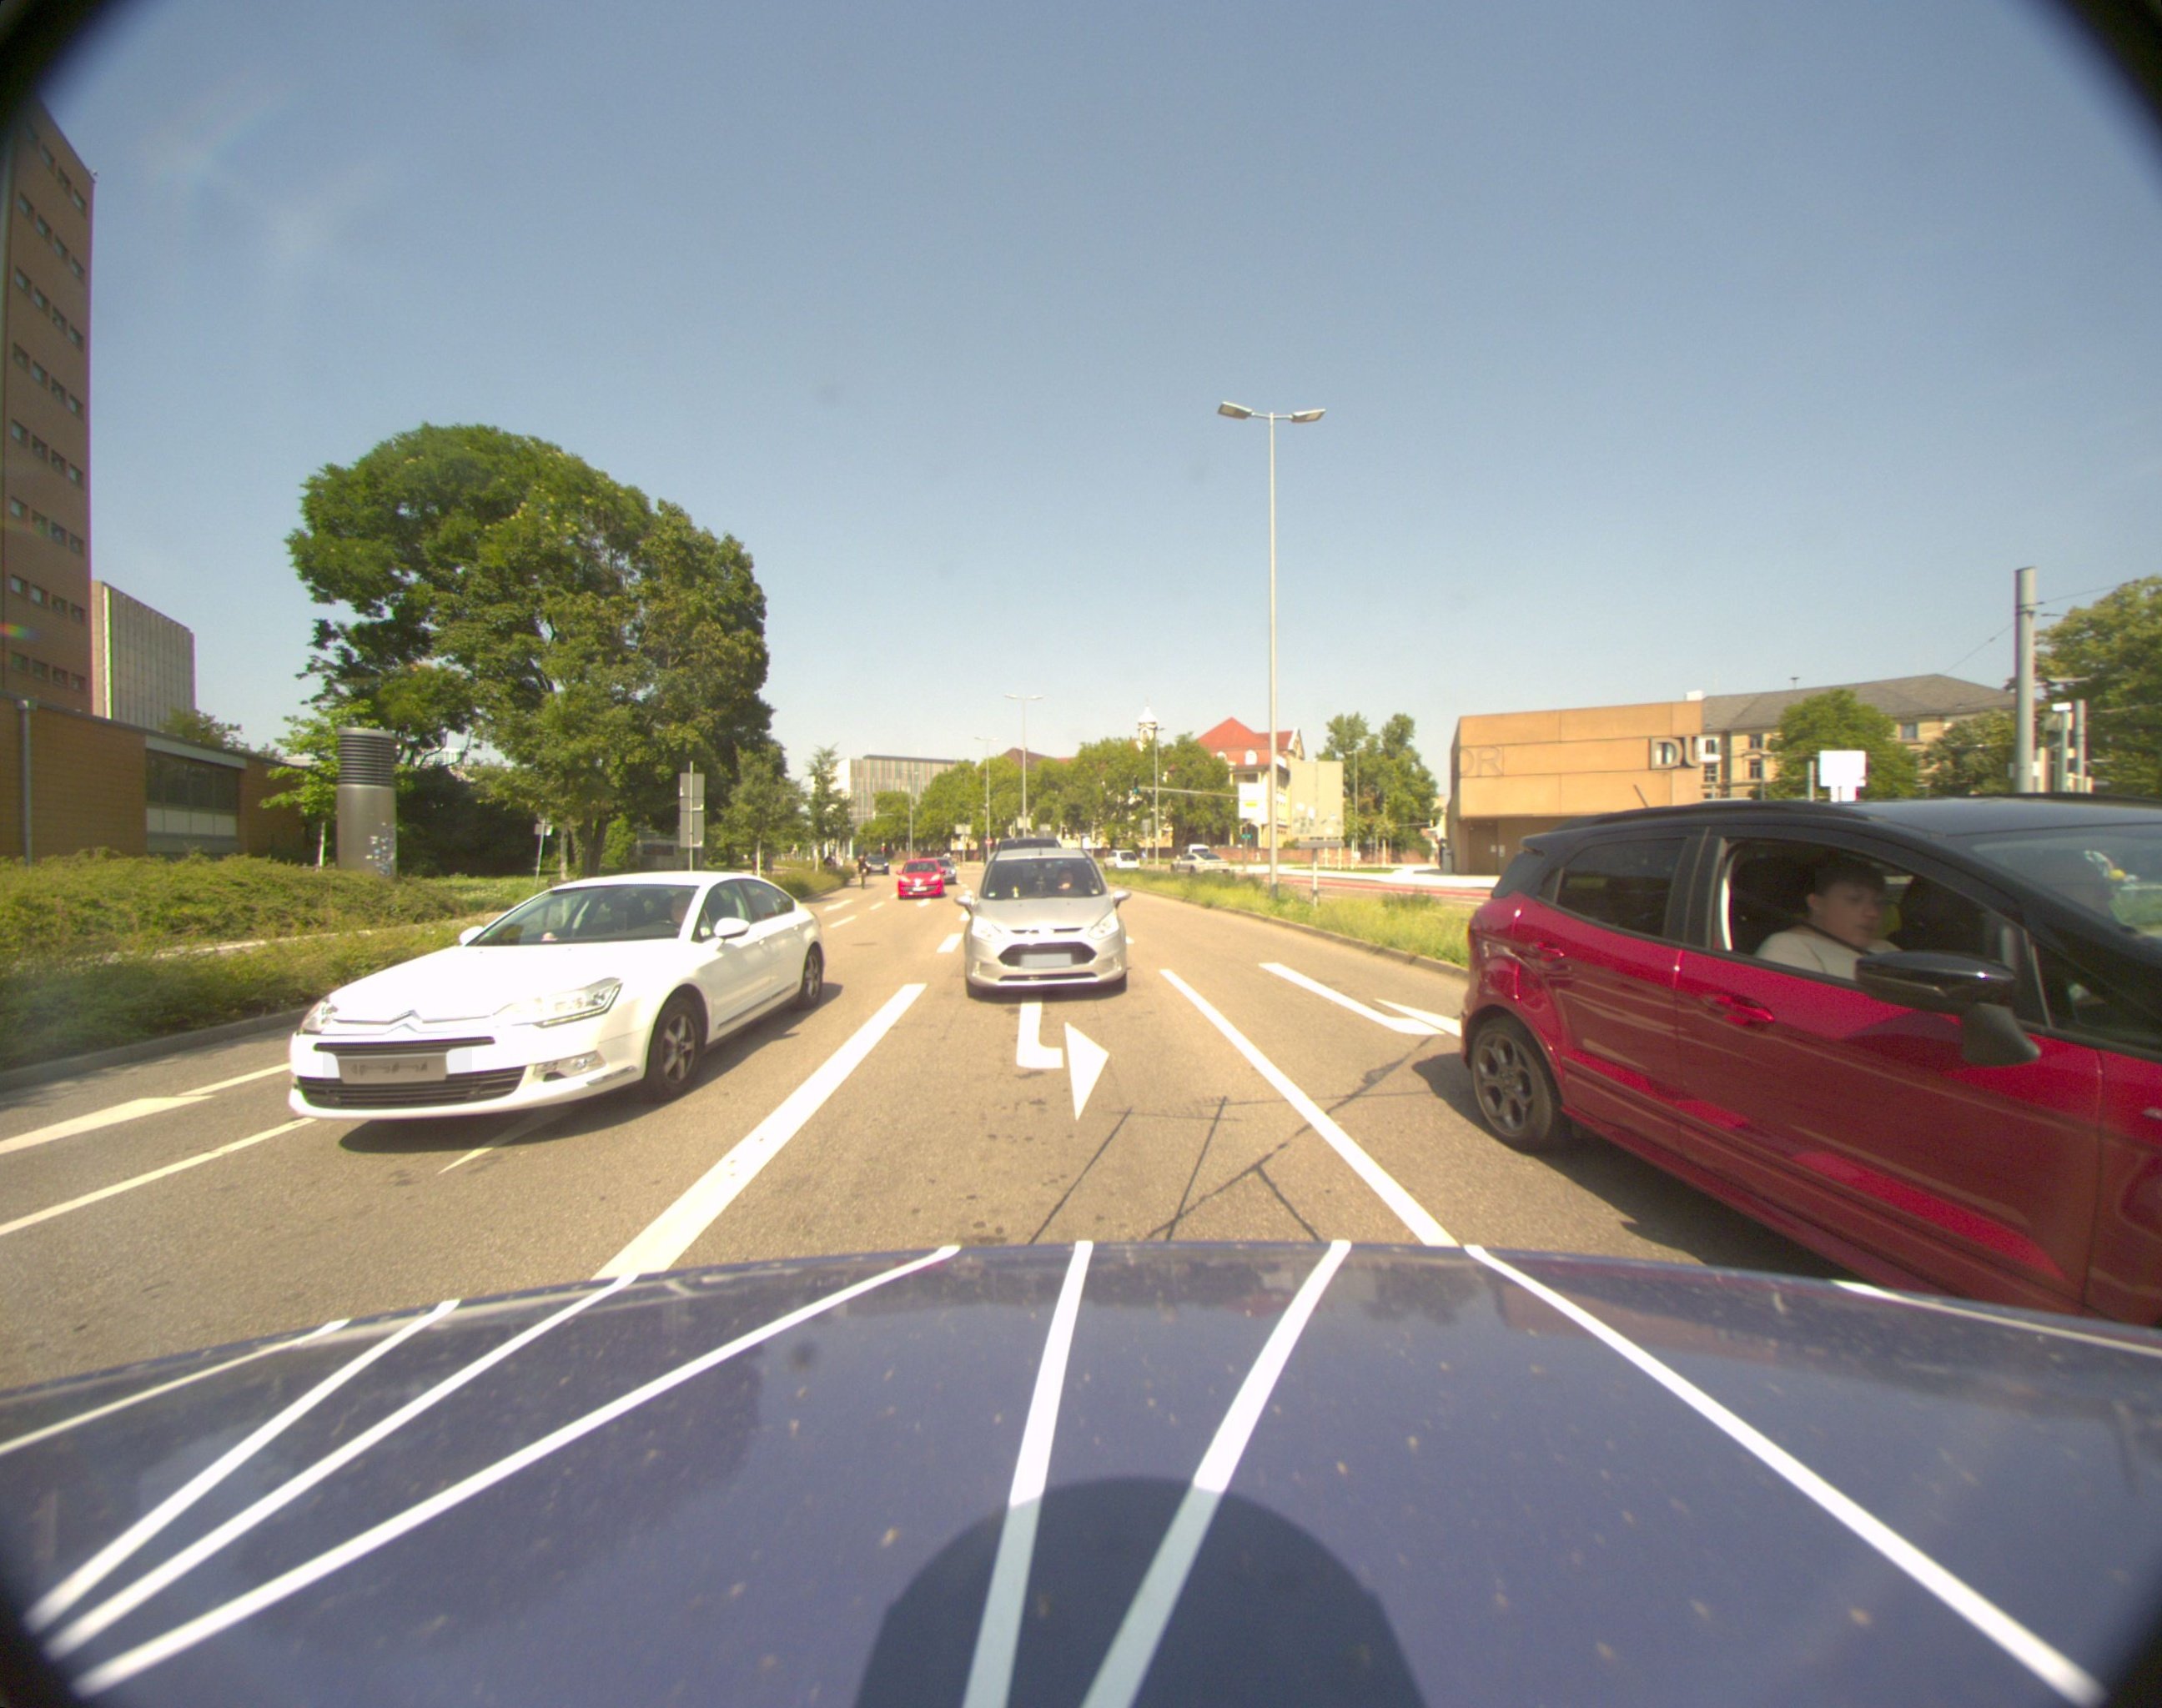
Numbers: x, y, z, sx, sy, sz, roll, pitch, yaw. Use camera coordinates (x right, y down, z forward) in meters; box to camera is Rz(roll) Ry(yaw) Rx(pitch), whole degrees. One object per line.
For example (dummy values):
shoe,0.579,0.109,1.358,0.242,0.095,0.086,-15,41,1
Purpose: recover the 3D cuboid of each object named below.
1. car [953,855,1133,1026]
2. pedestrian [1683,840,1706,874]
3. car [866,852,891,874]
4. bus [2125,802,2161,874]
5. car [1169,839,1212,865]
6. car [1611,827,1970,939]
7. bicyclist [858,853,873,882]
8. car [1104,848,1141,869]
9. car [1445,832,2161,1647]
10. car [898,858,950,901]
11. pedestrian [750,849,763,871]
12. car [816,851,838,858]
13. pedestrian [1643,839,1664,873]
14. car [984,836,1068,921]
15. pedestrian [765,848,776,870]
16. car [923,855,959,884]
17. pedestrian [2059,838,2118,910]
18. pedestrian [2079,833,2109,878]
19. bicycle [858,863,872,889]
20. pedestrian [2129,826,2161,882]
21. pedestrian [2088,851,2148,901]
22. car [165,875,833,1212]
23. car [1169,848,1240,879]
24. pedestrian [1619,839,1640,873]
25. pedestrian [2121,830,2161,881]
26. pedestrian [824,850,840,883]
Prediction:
car,-0.473,0.830,9.508,1.659,1.521,4.532,-2,1,-3
pedestrian,26.798,0.131,33.187,0.539,1.488,0.541,0,1,-5
car,-16.252,0.712,61.101,1.812,1.652,3.995,0,0,-13
bus,39.939,-0.564,23.565,3.396,2.697,12.364,0,0,25
car,8.081,-0.178,56.415,1.869,1.844,3.911,-1,1,-12
car,11.758,0.399,13.152,1.771,1.591,4.541,-1,0,-5
bicyclist,-10.555,0.656,37.192,0.680,1.392,1.048,-1,1,-15
car,2.956,0.319,54.920,1.527,1.470,3.472,-1,1,-17
car,2.922,0.746,2.216,1.694,1.577,3.843,-2,1,-3
car,-5.912,0.914,28.951,1.651,1.422,3.813,-2,1,-8
pedestrian,-19.334,0.343,45.281,0.635,1.291,0.486,-3,2,-20
car,-59.642,0.095,178.391,4.429,1.380,1.766,-3,1,-40
pedestrian,25.794,0.081,34.233,0.539,1.488,0.541,0,1,-5
car,-1.468,0.557,19.964,1.891,1.908,4.531,-2,1,-5
pedestrian,-18.622,0.297,45.558,0.577,1.291,0.436,-3,2,-21
car,-7.336,0.791,39.654,1.566,1.387,3.245,-1,1,-16
pedestrian,24.292,0.469,18.336,0.691,1.701,0.537,0,1,30
pedestrian,41.182,0.055,30.887,0.602,1.801,0.637,-3,2,-28
bicycle,-10.578,1.060,37.212,0.595,1.162,2.232,-1,1,-15
pedestrian,35.670,-0.011,25.072,0.927,1.813,0.939,0,1,24
pedestrian,24.135,0.500,17.692,0.600,1.119,0.639,-1,2,28
car,-3.522,0.970,5.946,1.773,1.420,4.608,0,1,-2
car,6.642,0.467,41.545,2.001,1.576,4.708,-1,0,-16
pedestrian,24.761,0.082,34.322,0.539,1.488,0.541,0,1,-5
pedestrian,35.664,0.042,25.134,1.076,1.686,1.066,0,1,25
pedestrian,-14.602,0.714,44.603,0.824,1.892,0.630,-1,1,-16
